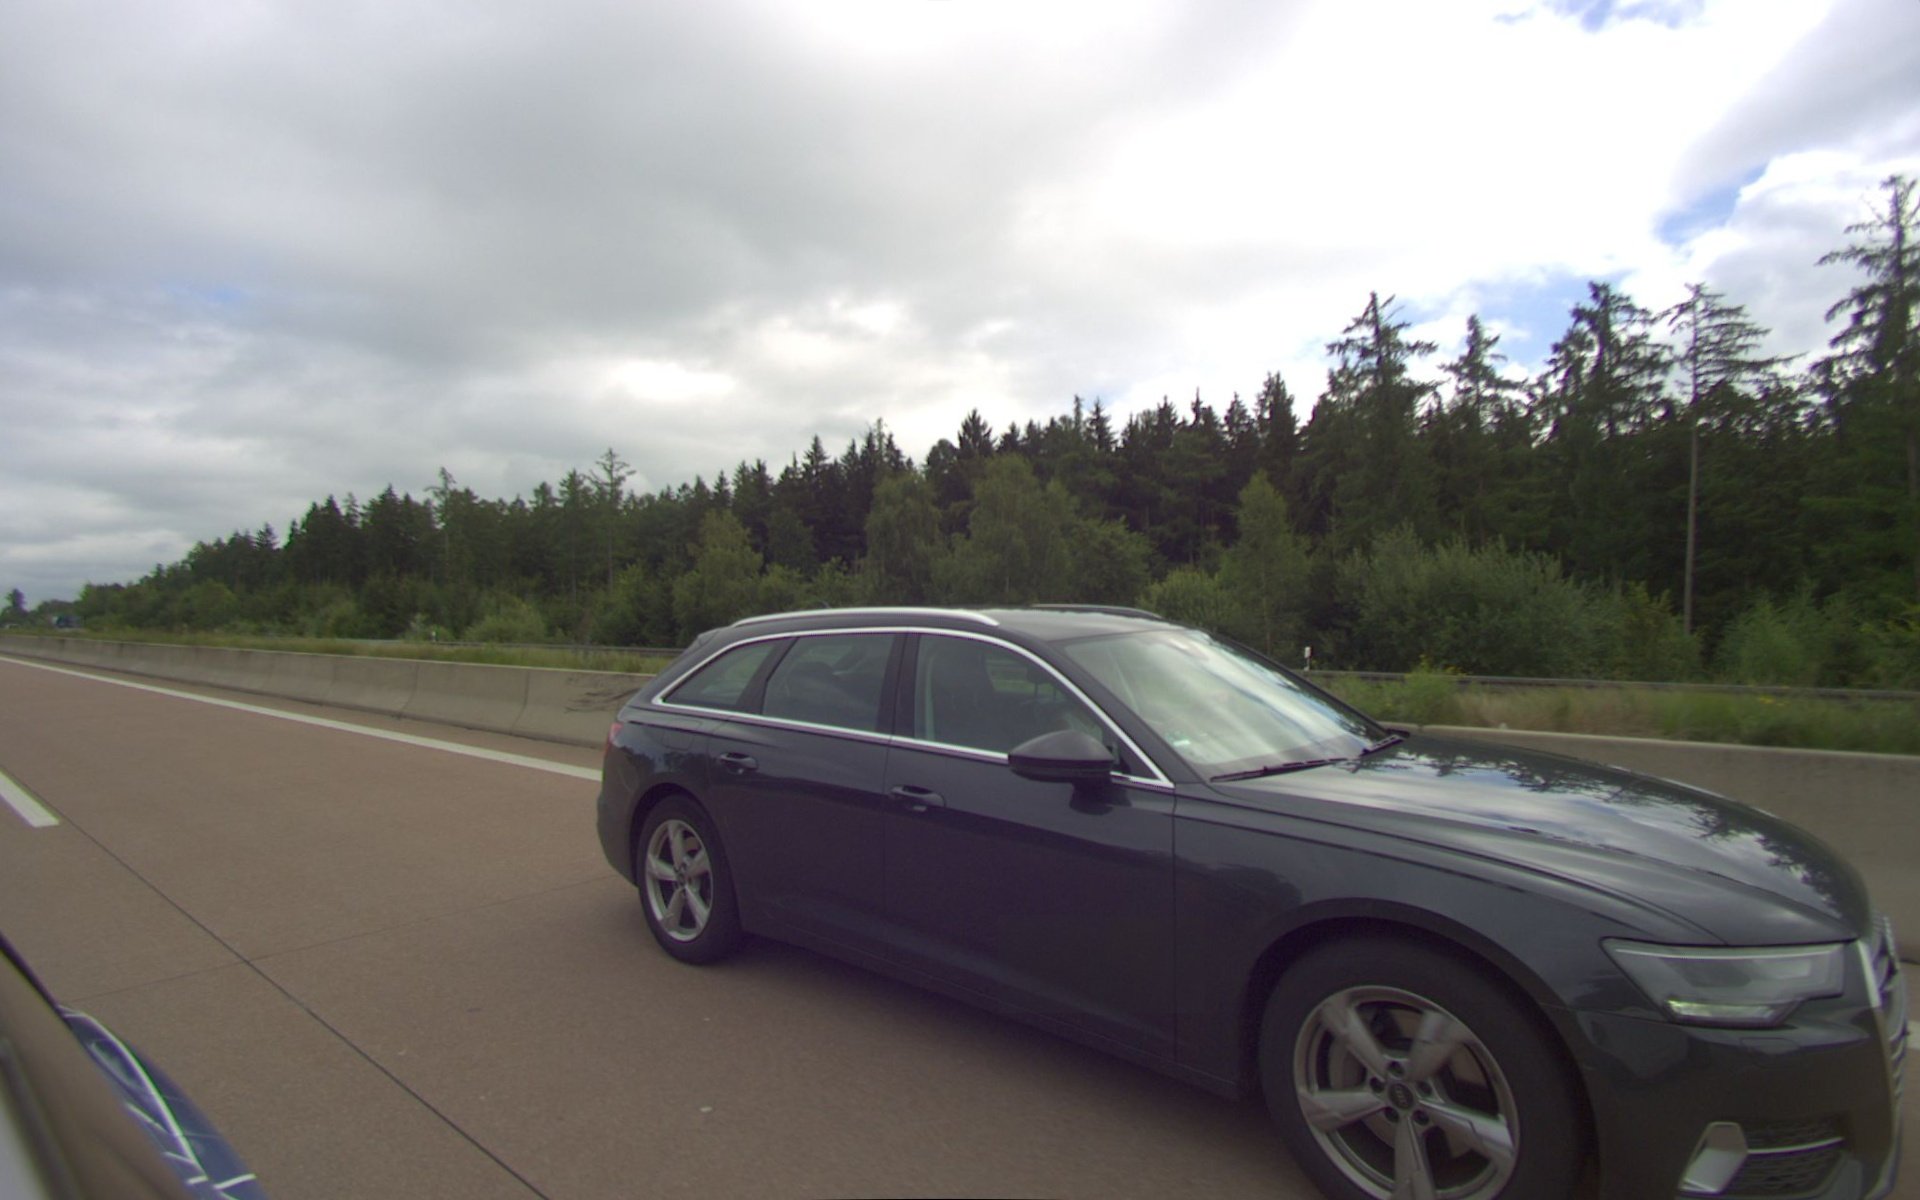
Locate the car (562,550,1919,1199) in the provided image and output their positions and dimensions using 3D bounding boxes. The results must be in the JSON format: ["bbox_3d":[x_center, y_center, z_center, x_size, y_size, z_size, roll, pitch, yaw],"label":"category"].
[{"bbox_3d":[0.908,0.703,3.538,5.450,1.503,2.037,-2,-1,42],"label":"car"}]

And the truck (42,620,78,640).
[{"bbox_3d":[-101.286,3.329,113.869,6.040,2.178,2.322,-2,-1,42],"label":"truck"}]

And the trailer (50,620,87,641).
[{"bbox_3d":[-96.720,3.255,109.803,6.186,2.178,2.307,-2,-1,42],"label":"trailer"}]
